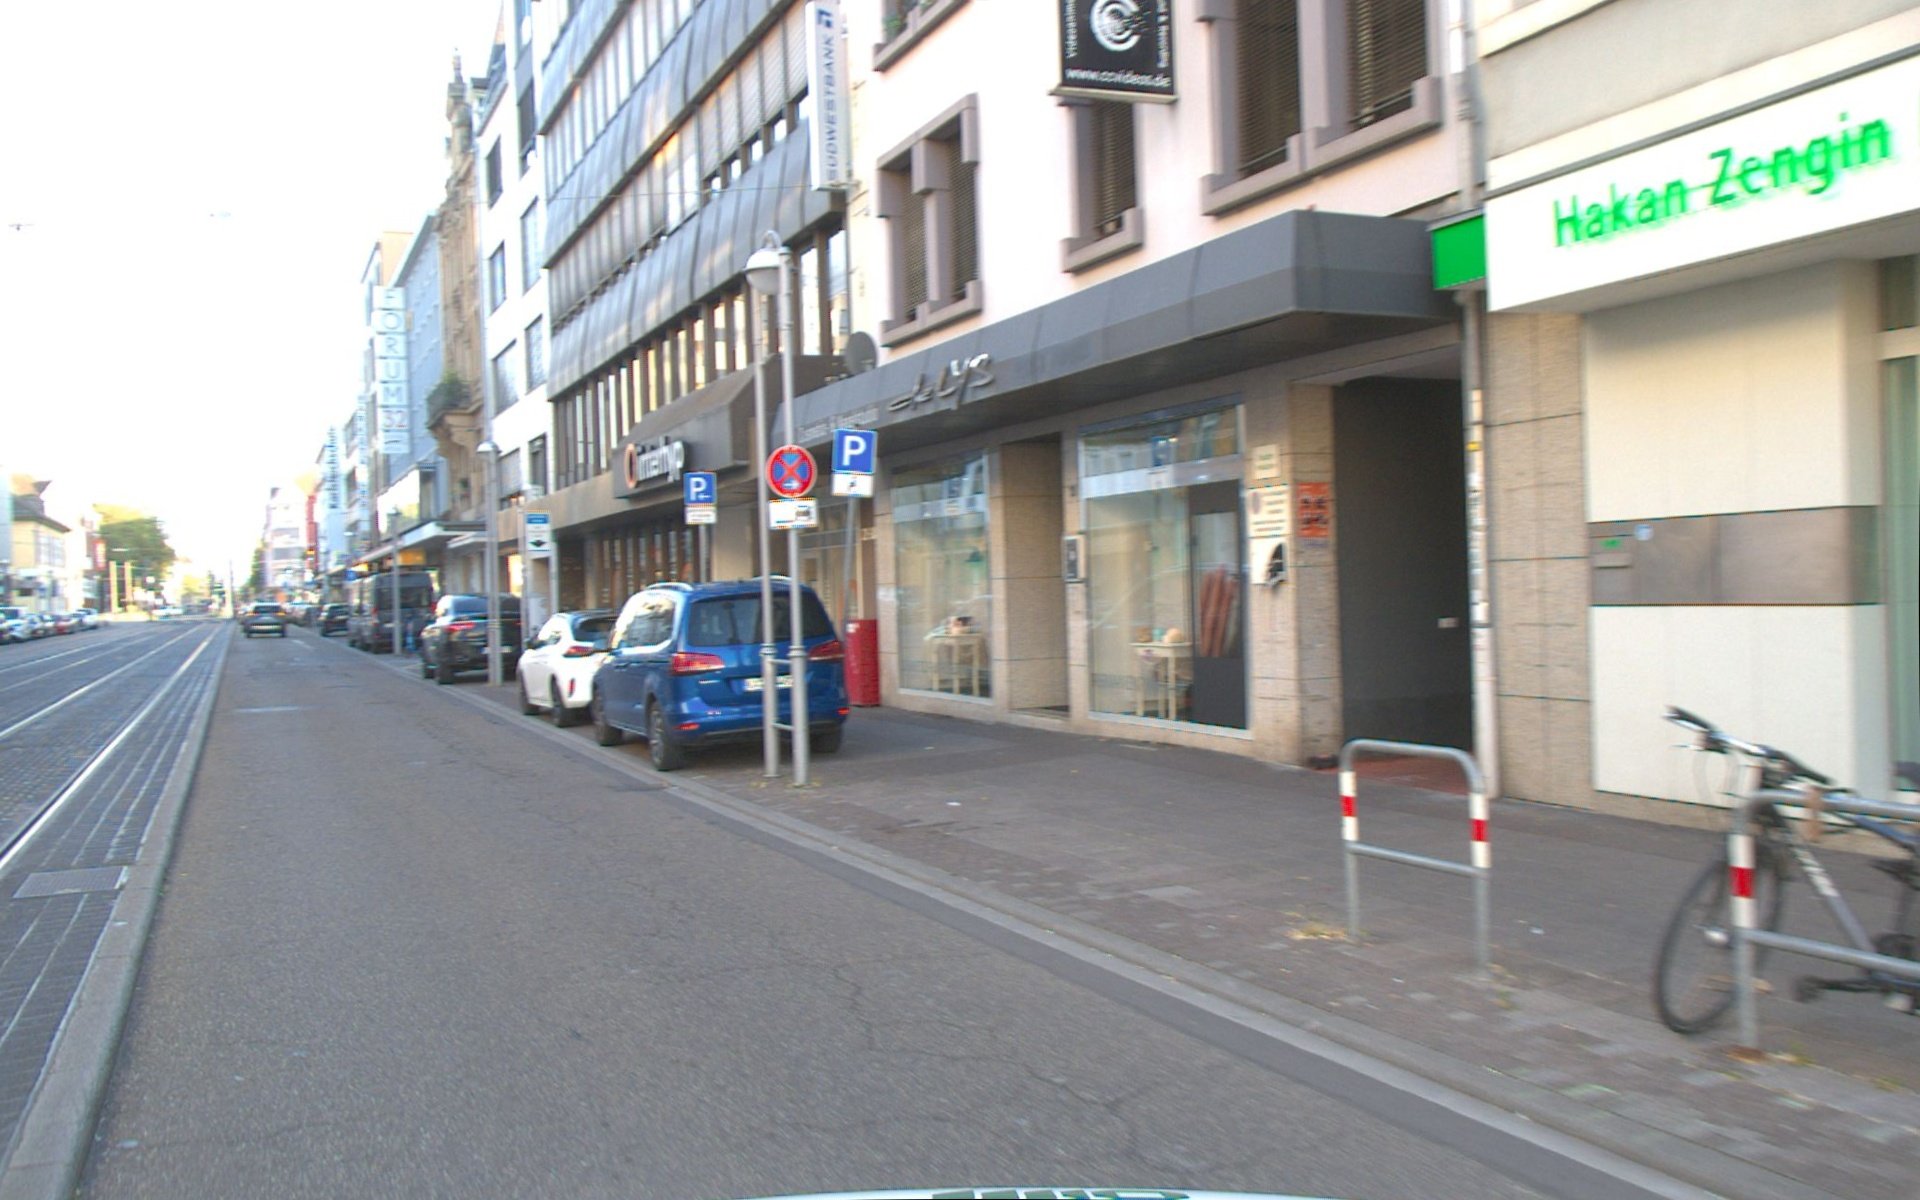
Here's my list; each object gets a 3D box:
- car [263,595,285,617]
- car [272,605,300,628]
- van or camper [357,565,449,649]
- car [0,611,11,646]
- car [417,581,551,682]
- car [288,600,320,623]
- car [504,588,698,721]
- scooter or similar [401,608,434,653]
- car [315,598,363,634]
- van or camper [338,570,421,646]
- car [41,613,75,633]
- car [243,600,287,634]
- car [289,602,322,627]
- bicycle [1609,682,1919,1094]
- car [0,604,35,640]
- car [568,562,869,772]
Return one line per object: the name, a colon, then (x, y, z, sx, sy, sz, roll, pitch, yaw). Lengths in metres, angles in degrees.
car: (-70.577, 0.616, 170.025, 1.918, 2.182, 4.511, -4, 2, -23)
car: (-55.065, 1.350, 135.105, 1.918, 1.732, 4.511, -5, 2, -23)
van or camper: (-18.569, 0.240, 54.914, 2.161, 2.468, 6.085, -5, 2, -24)
car: (-49.976, 1.449, 84.657, 1.892, 1.794, 4.397, 0, -1, -24)
car: (-9.741, 0.604, 33.632, 1.958, 1.764, 4.637, -5, 2, -23)
car: (-47.917, 0.831, 120.769, 1.918, 1.571, 4.511, -5, 2, -23)
car: (-4.963, 0.685, 22.502, 1.744, 1.511, 3.842, -5, 2, -24)
scooter or similar: (-15.685, 0.876, 47.859, 0.346, 1.245, 1.116, -4, 1, 9)
car: (-30.574, 0.748, 81.332, 1.918, 1.571, 4.511, -5, 2, -23)
van or camper: (-21.272, 0.296, 60.498, 2.162, 2.468, 5.473, -5, 2, -25)
car: (-61.994, 1.579, 113.739, 1.768, 1.362, 3.861, 0, -1, -25)
car: (-34.470, 0.827, 82.061, 1.918, 1.572, 4.511, -2, 0, -23)
car: (-45.864, 0.970, 115.896, 1.918, 1.571, 4.511, -5, 2, -23)
bicycle: (2.825, 0.847, 5.028, 0.472, 1.108, 1.633, -4, 1, -27)
car: (-52.904, 1.223, 92.135, 1.892, 1.970, 4.806, 0, -1, -24)
car: (-2.664, 0.603, 17.202, 1.890, 1.746, 4.530, -5, 2, -23)
